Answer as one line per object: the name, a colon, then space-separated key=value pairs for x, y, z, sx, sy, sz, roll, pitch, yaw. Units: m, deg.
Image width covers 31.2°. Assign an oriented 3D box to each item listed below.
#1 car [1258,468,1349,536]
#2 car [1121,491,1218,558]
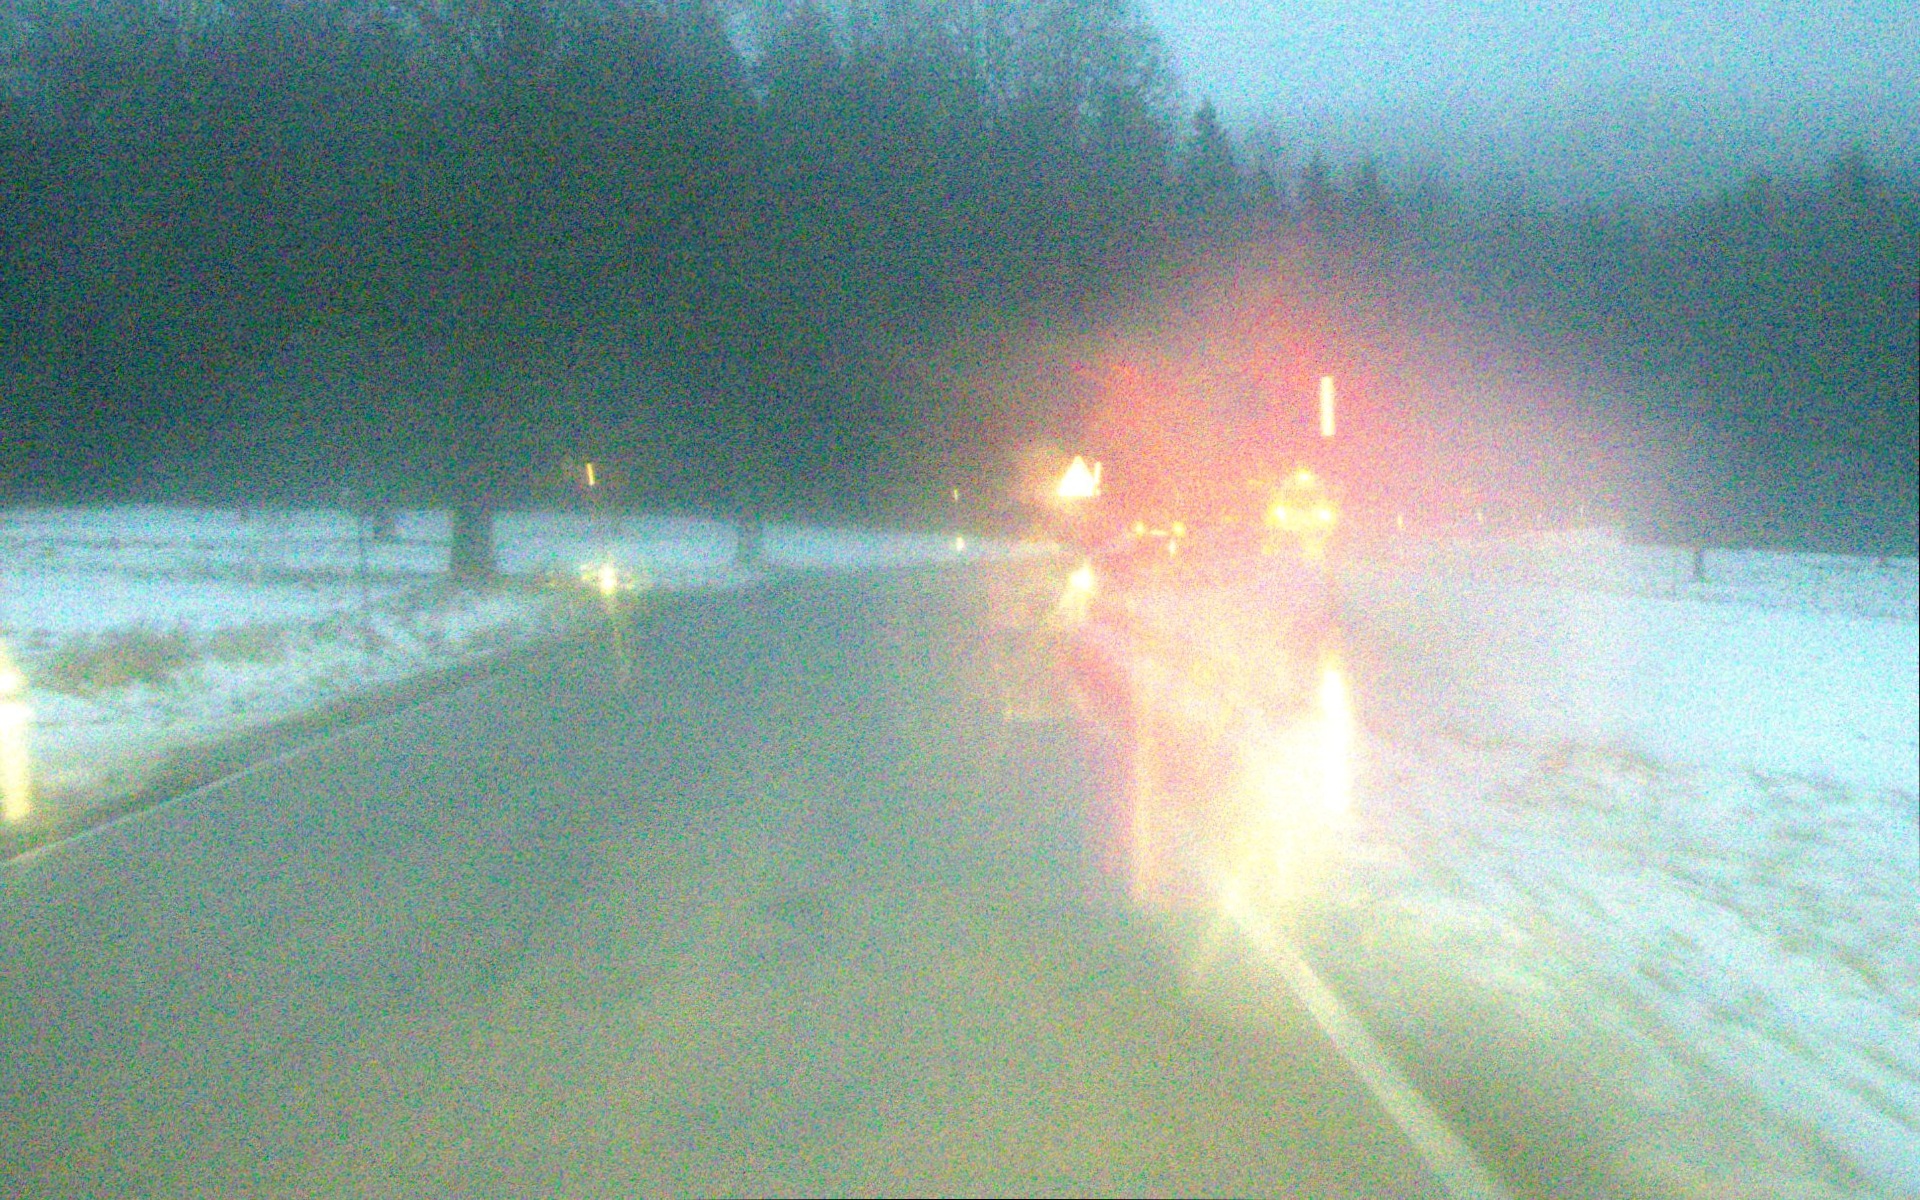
car: x=13.789 y=-3.941 z=137.713 sx=2.255 sy=2.636 sz=5.001 roll=2 pitch=2 yaw=22
car: x=6.955 y=-2.498 z=113.658 sx=1.996 sy=2.044 sz=3.996 roll=4 pitch=3 yaw=20
